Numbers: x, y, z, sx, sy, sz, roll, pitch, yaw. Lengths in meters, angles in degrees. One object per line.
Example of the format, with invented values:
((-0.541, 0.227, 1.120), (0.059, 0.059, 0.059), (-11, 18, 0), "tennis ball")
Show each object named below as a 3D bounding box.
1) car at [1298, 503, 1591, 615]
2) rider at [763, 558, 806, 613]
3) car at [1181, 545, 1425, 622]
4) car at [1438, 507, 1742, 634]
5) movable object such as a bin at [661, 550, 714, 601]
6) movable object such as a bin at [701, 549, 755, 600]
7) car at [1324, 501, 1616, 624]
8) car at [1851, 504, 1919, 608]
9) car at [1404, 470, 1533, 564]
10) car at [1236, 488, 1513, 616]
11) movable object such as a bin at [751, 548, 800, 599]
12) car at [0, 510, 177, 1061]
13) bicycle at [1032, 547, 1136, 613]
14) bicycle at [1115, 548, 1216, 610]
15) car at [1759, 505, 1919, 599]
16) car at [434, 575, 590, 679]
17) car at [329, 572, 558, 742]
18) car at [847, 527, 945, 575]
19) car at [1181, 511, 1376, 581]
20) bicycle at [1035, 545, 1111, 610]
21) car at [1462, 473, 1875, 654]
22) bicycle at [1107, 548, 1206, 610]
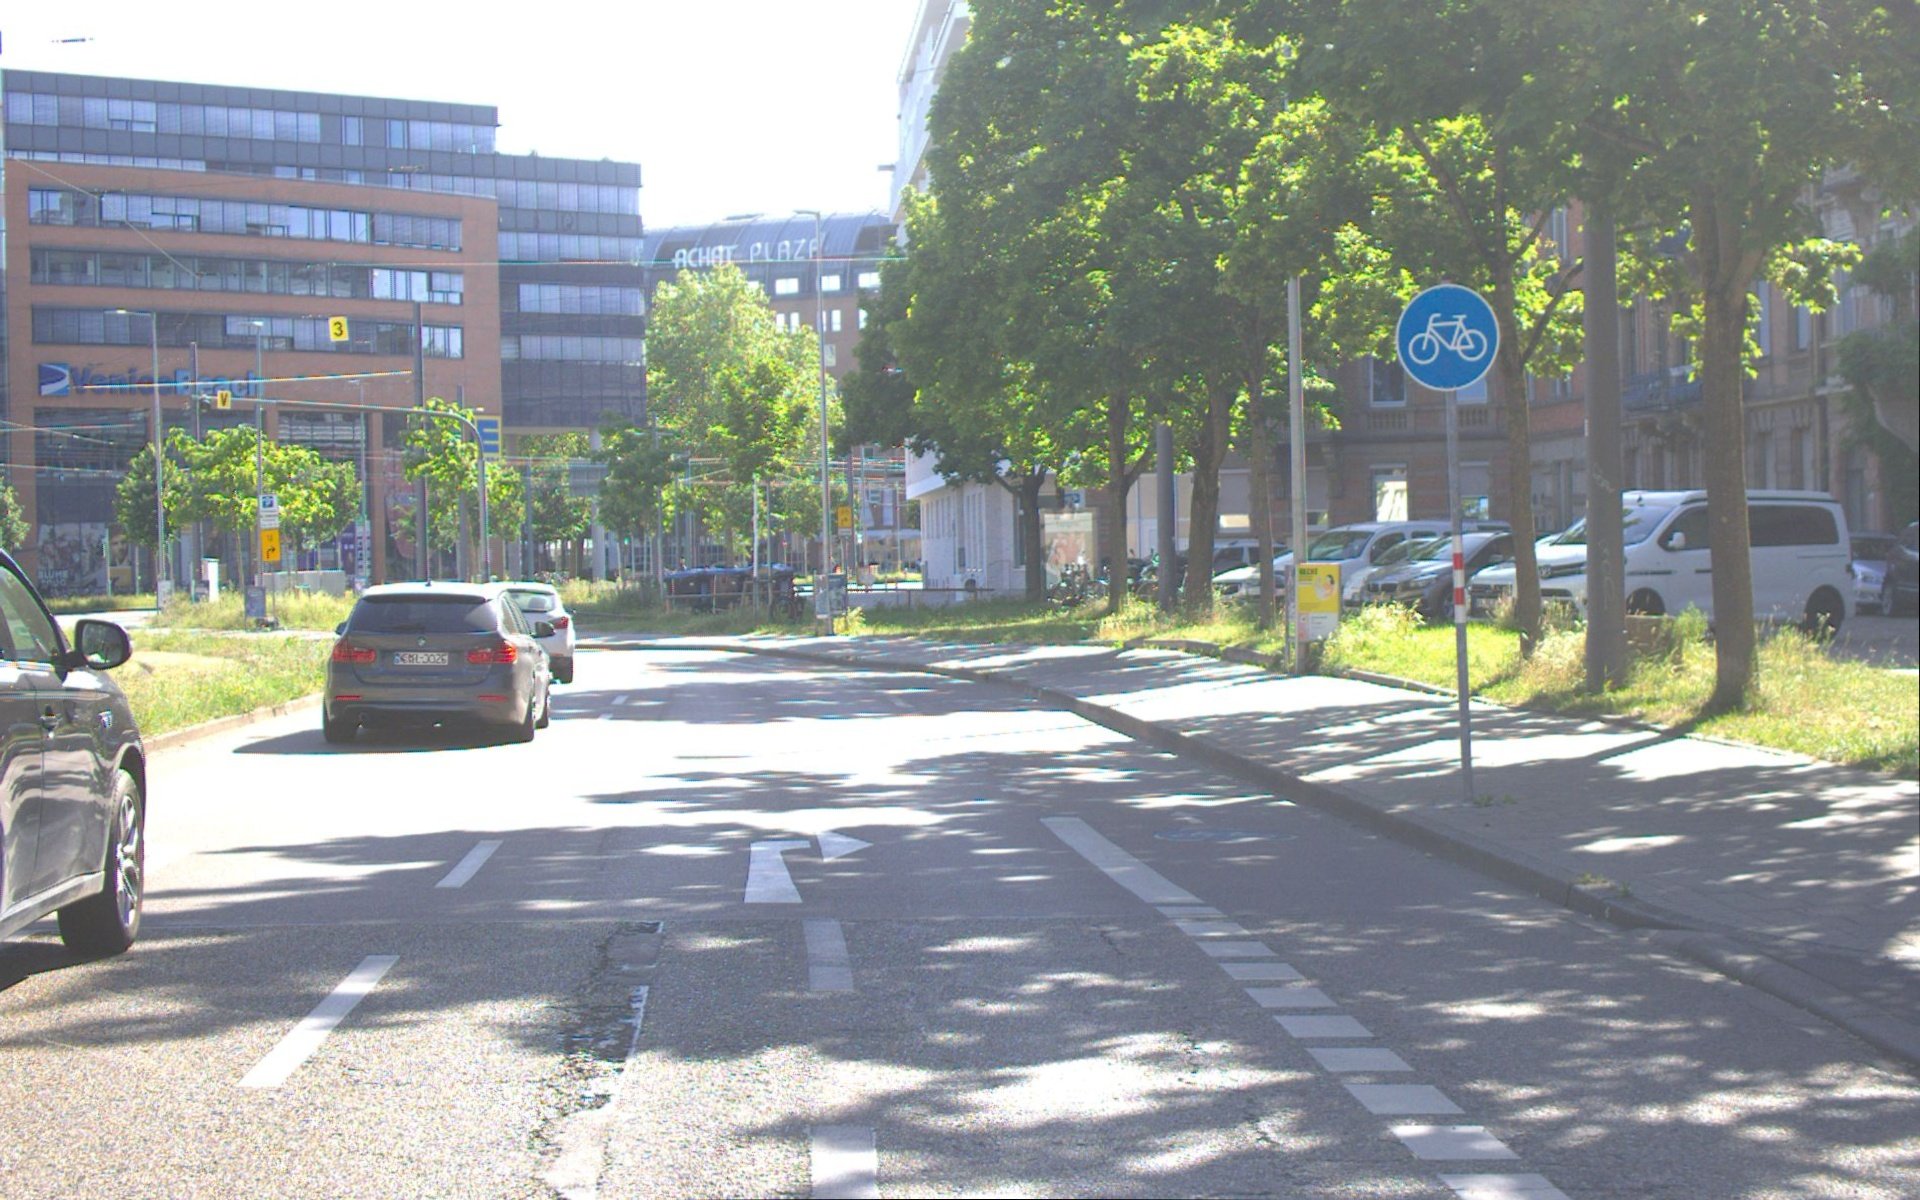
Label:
((8.565, -0.725, 60.641), (4.865, 1.642, 2.100), (-4, 1, -33), "car")
((-3.998, -0.337, 78.337), (0.502, 1.172, 1.675), (-1, 2, 13), "rider")
((6.911, -0.351, 69.049), (4.738, 1.375, 2.045), (-3, 2, -37), "car")
((8.697, -0.414, 47.329), (4.019, 1.473, 1.812), (-5, 2, -37), "car")
((-7.741, -0.691, 97.560), (1.069, 1.393, 1.303), (-1, 1, 16), "movable object such as a bin")
((-6.588, -0.717, 97.554), (1.108, 1.393, 1.320), (-1, 1, 16), "movable object such as a bin")
((8.456, -0.622, 56.885), (4.499, 1.721, 2.000), (-4, 1, -33), "car")
((16.507, -0.760, 57.077), (1.993, 1.685, 4.514), (-2, 1, -3), "car")
((13.688, -2.264, 92.830), (2.349, 2.349, 5.189), (-3, 2, -3), "car")
((7.629, -0.892, 63.096), (4.866, 2.006, 2.100), (-5, 2, -38), "car")
((-5.226, -0.763, 97.472), (1.029, 1.393, 1.090), (-1, 1, 16), "movable object such as a bin")
((-3.910, 0.568, 11.370), (1.836, 1.676, 4.643), (-1, 1, -4), "car")
((2.683, -0.440, 74.578), (2.093, 1.360, 0.787), (-2, 1, -9), "bicycle")
((4.291, -0.447, 72.001), (1.944, 1.176, 0.900), (-3, 1, -4), "bicycle")
((16.330, -0.903, 62.409), (1.993, 1.523, 4.514), (-3, 2, -8), "car")
((-6.443, 0.398, 49.190), (1.631, 1.418, 3.783), (1, -1, -16), "car")
((-4.611, 0.509, 31.191), (1.734, 1.418, 4.468), (1, -1, -5), "car")
((-2.853, -2.204, 154.085), (3.989, 2.007, 1.999), (-1, 1, 12), "car")
((7.709, -1.309, 83.102), (4.457, 1.560, 1.938), (-2, 2, -35), "car")
((2.377, -0.475, 72.096), (0.769, 1.285, 1.594), (-2, 2, 36), "bicycle")
((9.240, -0.488, 44.680), (5.171, 2.006, 2.100), (-4, 1, -33), "car")
((4.162, -0.448, 72.921), (1.957, 1.188, 0.842), (-3, 1, -4), "bicycle")
